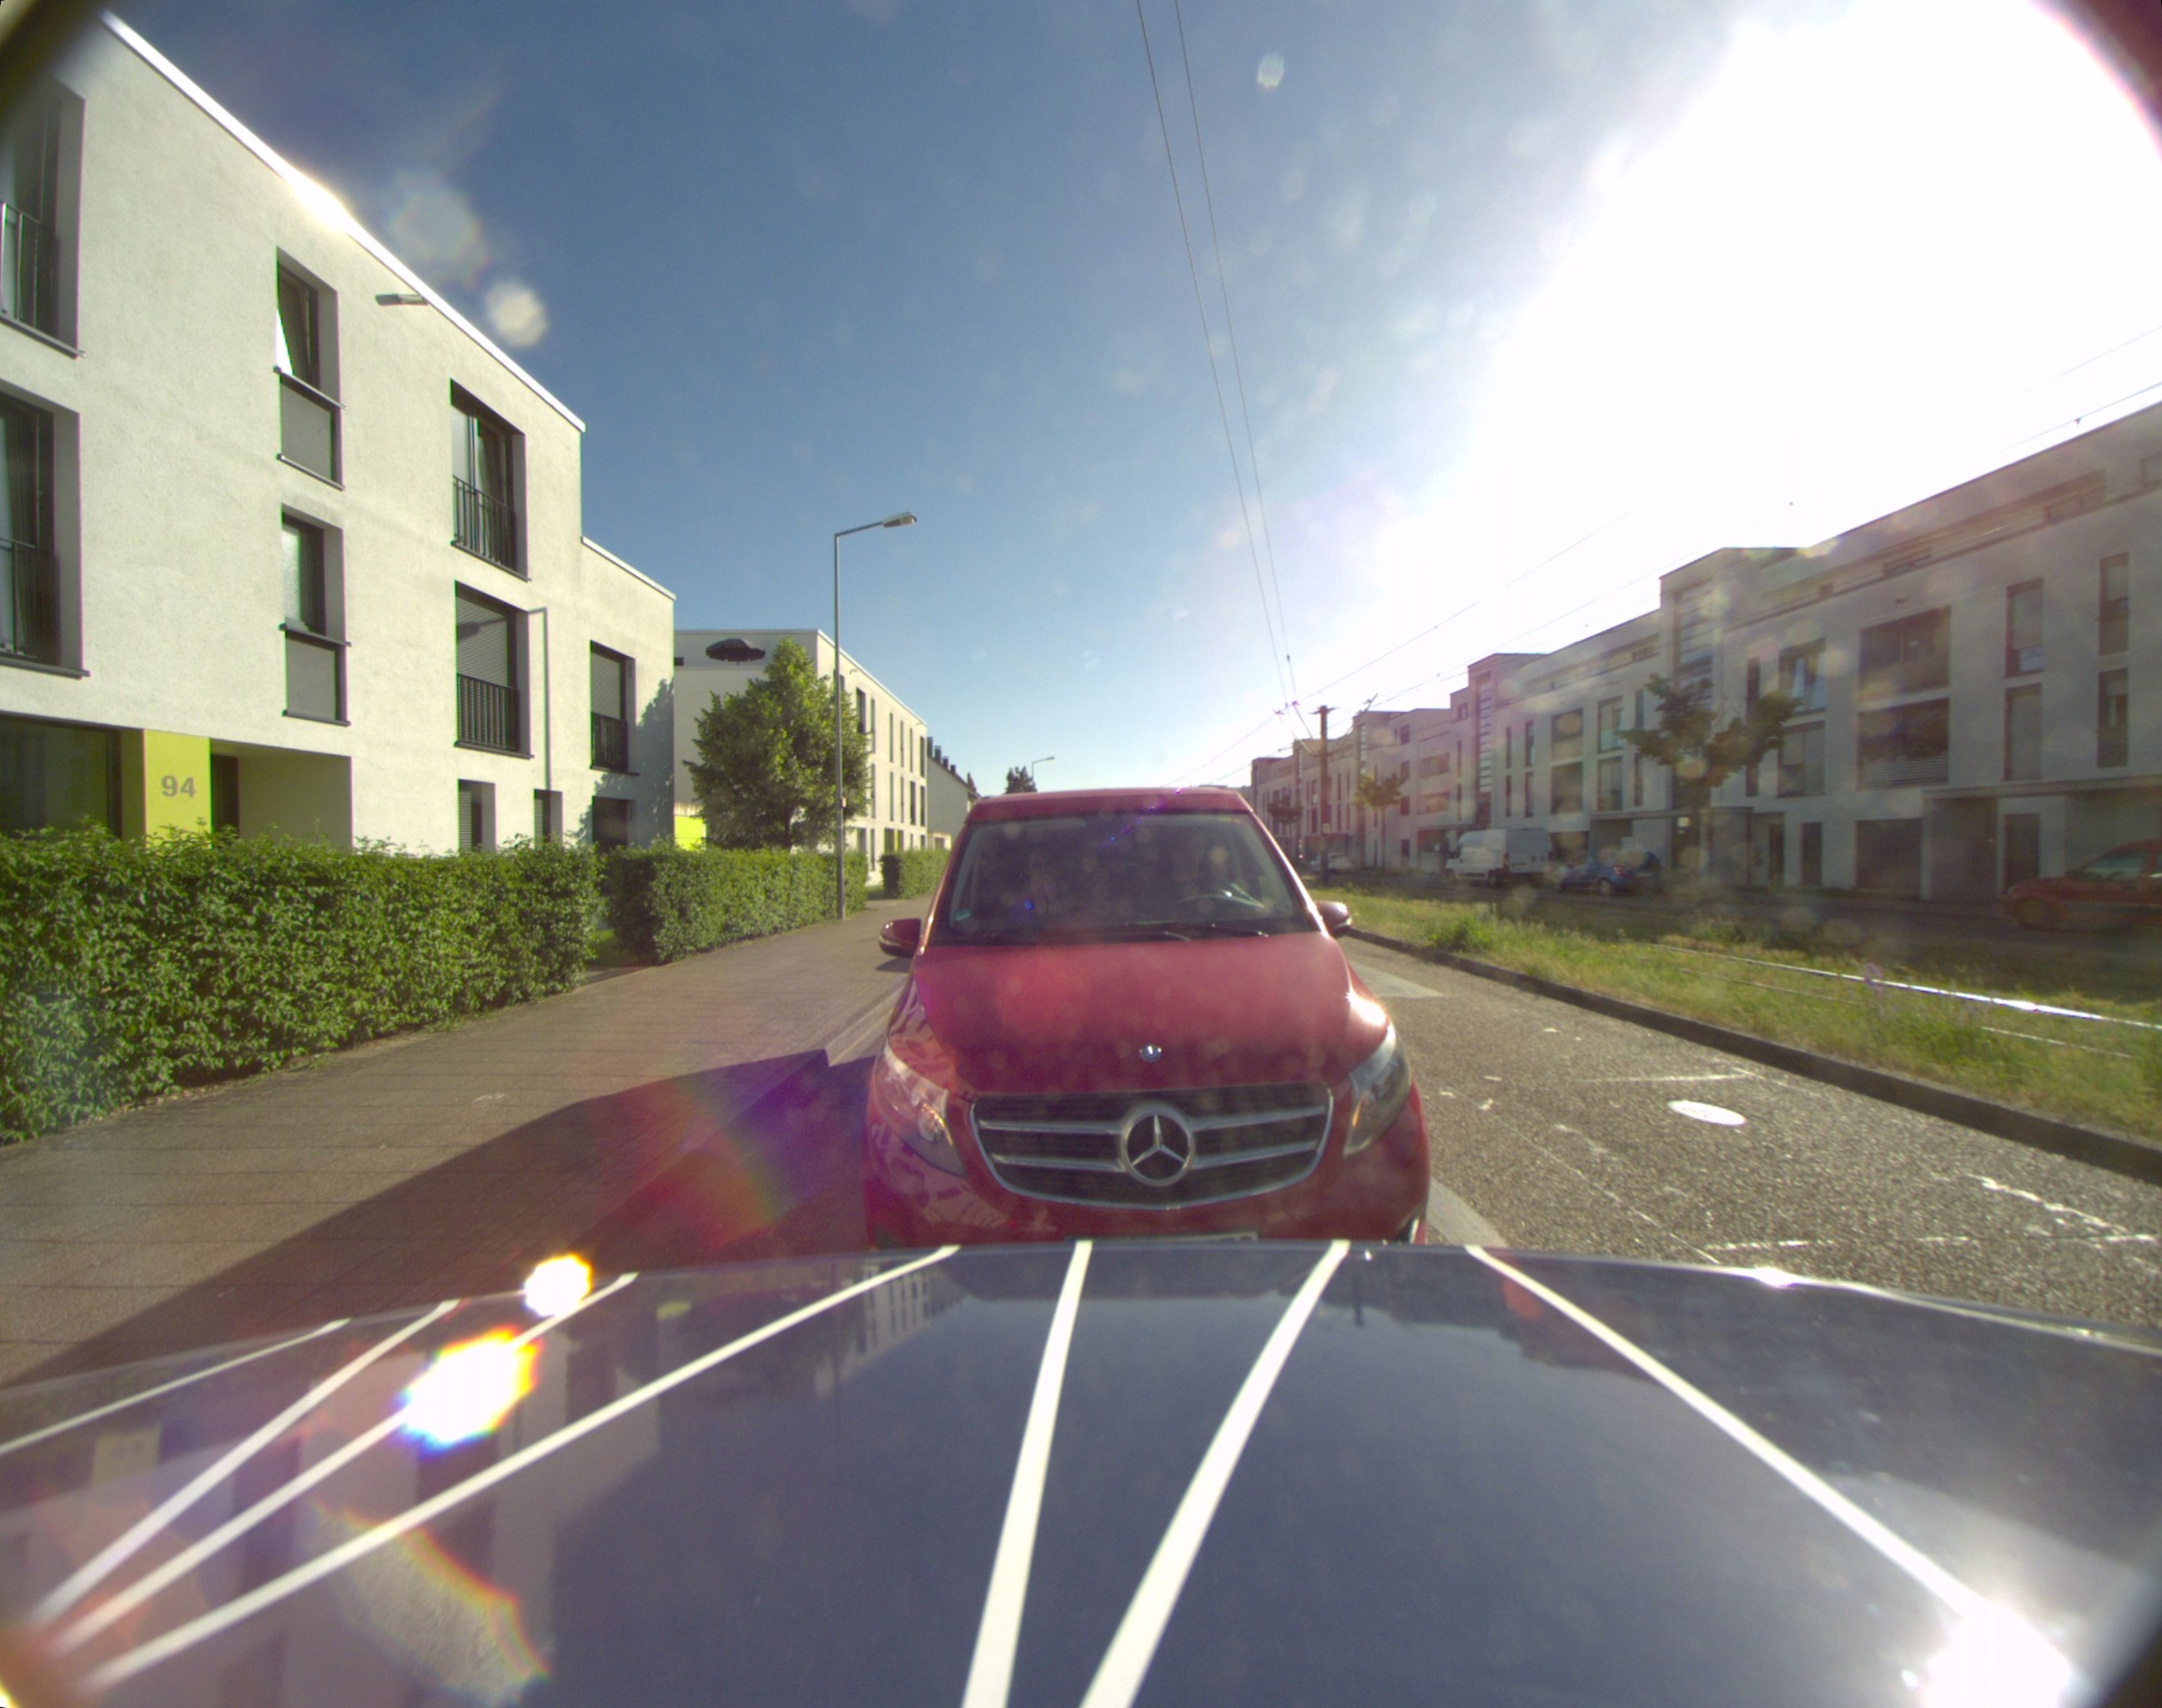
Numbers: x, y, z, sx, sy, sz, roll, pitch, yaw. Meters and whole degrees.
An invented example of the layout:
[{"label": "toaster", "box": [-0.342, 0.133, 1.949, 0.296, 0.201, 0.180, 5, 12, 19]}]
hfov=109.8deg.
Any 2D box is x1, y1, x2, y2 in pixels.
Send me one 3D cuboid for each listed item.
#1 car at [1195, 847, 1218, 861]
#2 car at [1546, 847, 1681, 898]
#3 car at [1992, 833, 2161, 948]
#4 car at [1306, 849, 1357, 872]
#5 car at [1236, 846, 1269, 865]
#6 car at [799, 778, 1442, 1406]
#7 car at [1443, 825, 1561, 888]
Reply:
[{"label": "car", "box": [15.481, -0.032, 93.877, 1.923, 1.671, 4.282, -2, 1, -4]}, {"label": "car", "box": [18.379, 0.582, 26.470, 1.998, 1.536, 3.835, -2, 1, 0]}, {"label": "car", "box": [18.619, 0.584, 12.779, 1.998, 1.817, 3.895, -2, 1, 3]}, {"label": "car", "box": [17.638, 0.420, 53.711, 1.923, 1.497, 4.282, -2, 1, -4]}, {"label": "car", "box": [16.724, 0.138, 74.325, 1.923, 1.671, 4.282, -2, 1, -4]}, {"label": "car", "box": [0.154, 0.703, 4.546, 1.874, 1.843, 4.506, -2, 1, 1]}, {"label": "car", "box": [18.172, 0.080, 33.141, 2.225, 2.458, 5.195, -2, 1, 0]}]
